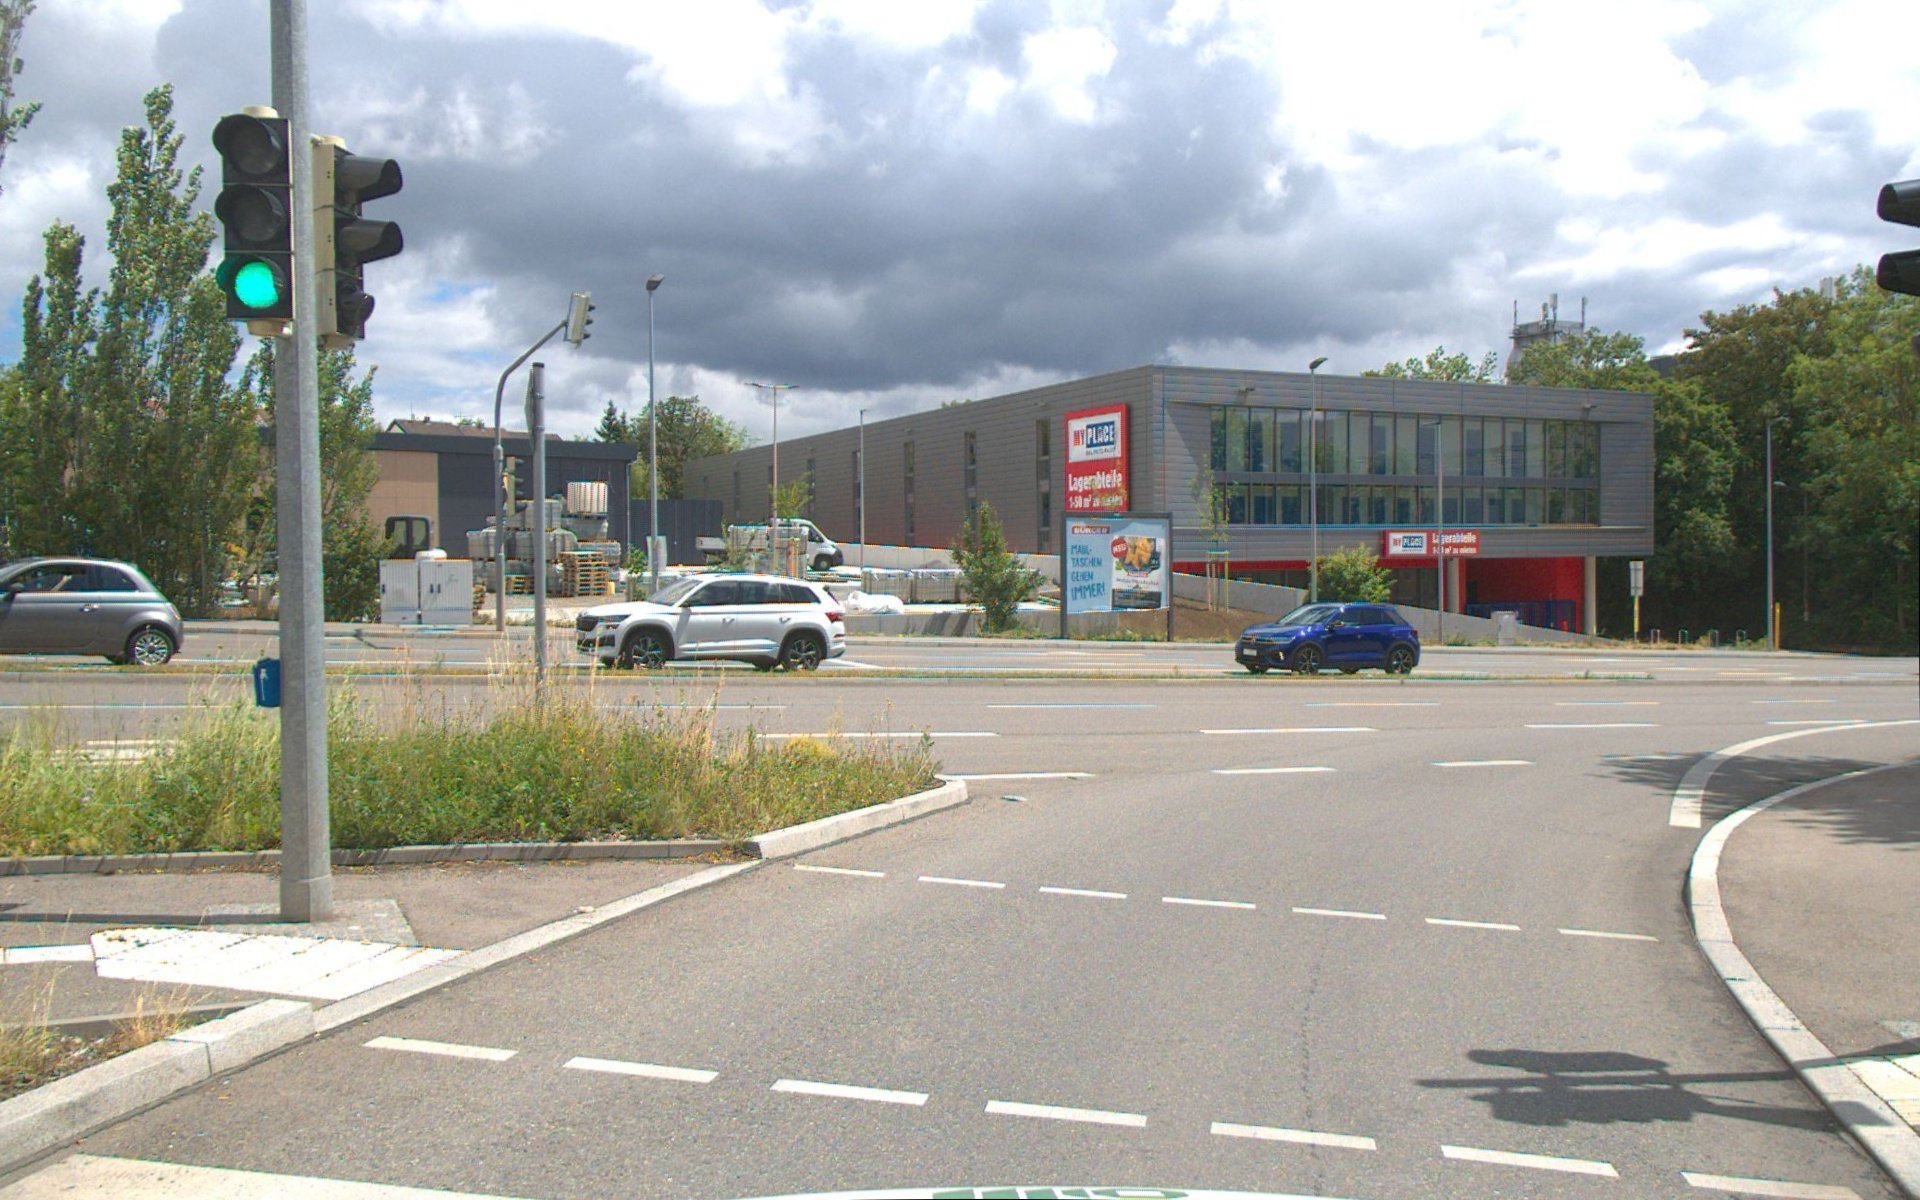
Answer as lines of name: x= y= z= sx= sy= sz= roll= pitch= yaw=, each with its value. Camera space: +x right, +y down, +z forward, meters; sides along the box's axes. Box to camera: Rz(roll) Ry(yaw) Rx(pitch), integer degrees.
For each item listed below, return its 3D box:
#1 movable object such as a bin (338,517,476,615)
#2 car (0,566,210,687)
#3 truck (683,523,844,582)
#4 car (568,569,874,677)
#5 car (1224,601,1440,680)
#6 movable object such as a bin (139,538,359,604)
movable object such as a bin: x=-15.478 y=-0.919 z=46.467 sx=3.343 sy=2.582 sz=2.146 roll=2 pitch=0 yaw=-12
car: x=-12.311 y=0.332 z=22.578 sx=3.488 sy=1.485 sz=1.564 roll=-3 pitch=3 yaw=-38
truck: x=-8.277 y=-2.004 z=69.617 sx=6.451 sy=2.182 sz=1.992 roll=-3 pitch=2 yaw=-15
car: x=-4.001 y=0.385 z=28.007 sx=4.835 sy=1.687 sz=1.716 roll=1 pitch=1 yaw=-31
car: x=7.889 y=0.852 z=35.020 sx=4.333 sy=1.537 sz=1.794 roll=1 pitch=1 yaw=-28
movable object such as a bin: x=-25.004 y=-1.057 z=58.508 sx=6.813 sy=2.048 sz=2.286 roll=-3 pitch=2 yaw=-17
